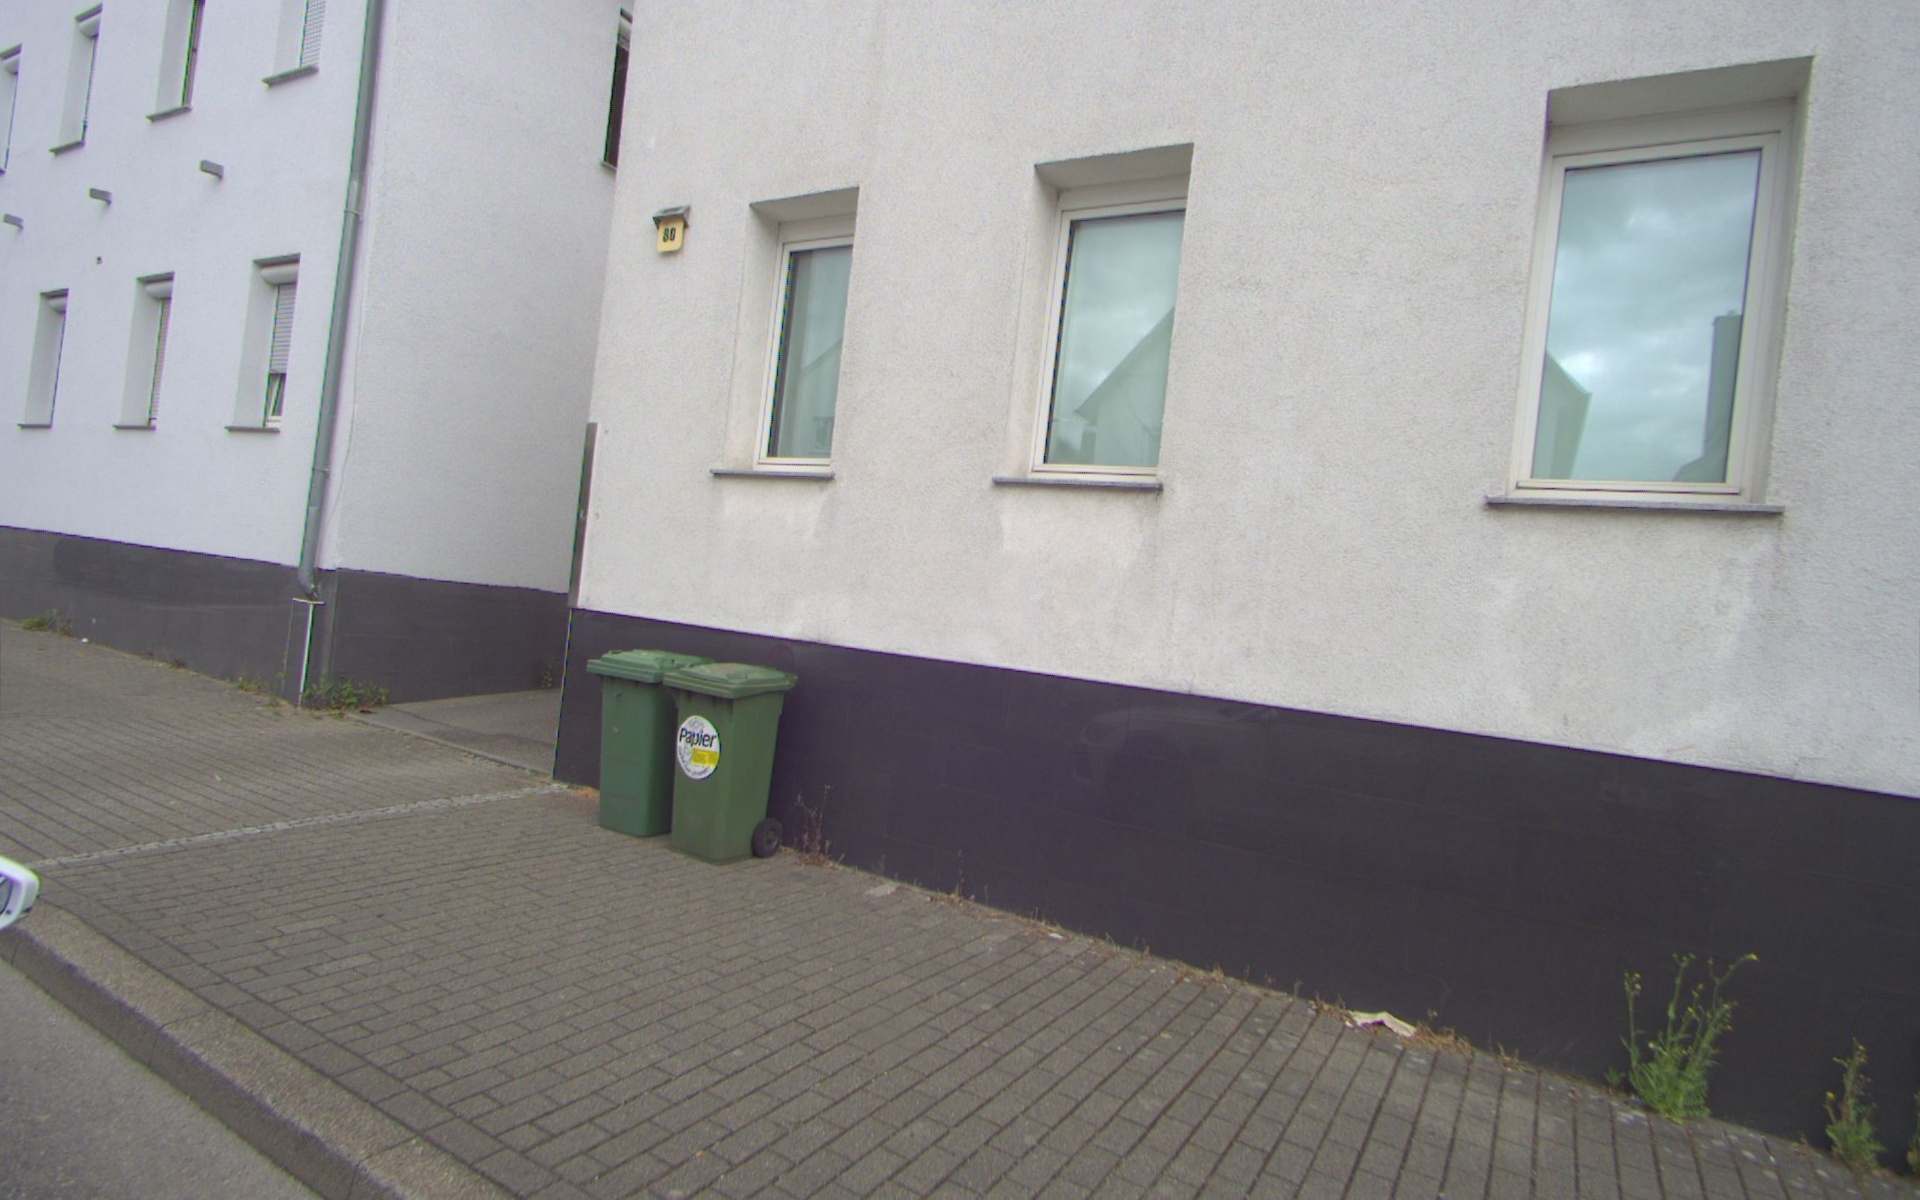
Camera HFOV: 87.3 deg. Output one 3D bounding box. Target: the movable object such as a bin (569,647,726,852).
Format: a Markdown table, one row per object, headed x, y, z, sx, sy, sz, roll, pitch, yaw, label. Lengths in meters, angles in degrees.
| x | y | z | sx | sy | sz | roll | pitch | yaw | label |
| --- | --- | --- | --- | --- | --- | --- | --- | --- | --- |
| -1.631 | 0.748 | 5.268 | 0.479 | 0.953 | 0.540 | 7 | 2 | 32 | movable object such as a bin |

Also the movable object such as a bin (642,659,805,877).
| x | y | z | sx | sy | sz | roll | pitch | yaw | label |
| --- | --- | --- | --- | --- | --- | --- | --- | --- | --- |
| -1.173 | 0.800 | 5.011 | 0.479 | 0.953 | 0.540 | 7 | 2 | 32 | movable object such as a bin |
